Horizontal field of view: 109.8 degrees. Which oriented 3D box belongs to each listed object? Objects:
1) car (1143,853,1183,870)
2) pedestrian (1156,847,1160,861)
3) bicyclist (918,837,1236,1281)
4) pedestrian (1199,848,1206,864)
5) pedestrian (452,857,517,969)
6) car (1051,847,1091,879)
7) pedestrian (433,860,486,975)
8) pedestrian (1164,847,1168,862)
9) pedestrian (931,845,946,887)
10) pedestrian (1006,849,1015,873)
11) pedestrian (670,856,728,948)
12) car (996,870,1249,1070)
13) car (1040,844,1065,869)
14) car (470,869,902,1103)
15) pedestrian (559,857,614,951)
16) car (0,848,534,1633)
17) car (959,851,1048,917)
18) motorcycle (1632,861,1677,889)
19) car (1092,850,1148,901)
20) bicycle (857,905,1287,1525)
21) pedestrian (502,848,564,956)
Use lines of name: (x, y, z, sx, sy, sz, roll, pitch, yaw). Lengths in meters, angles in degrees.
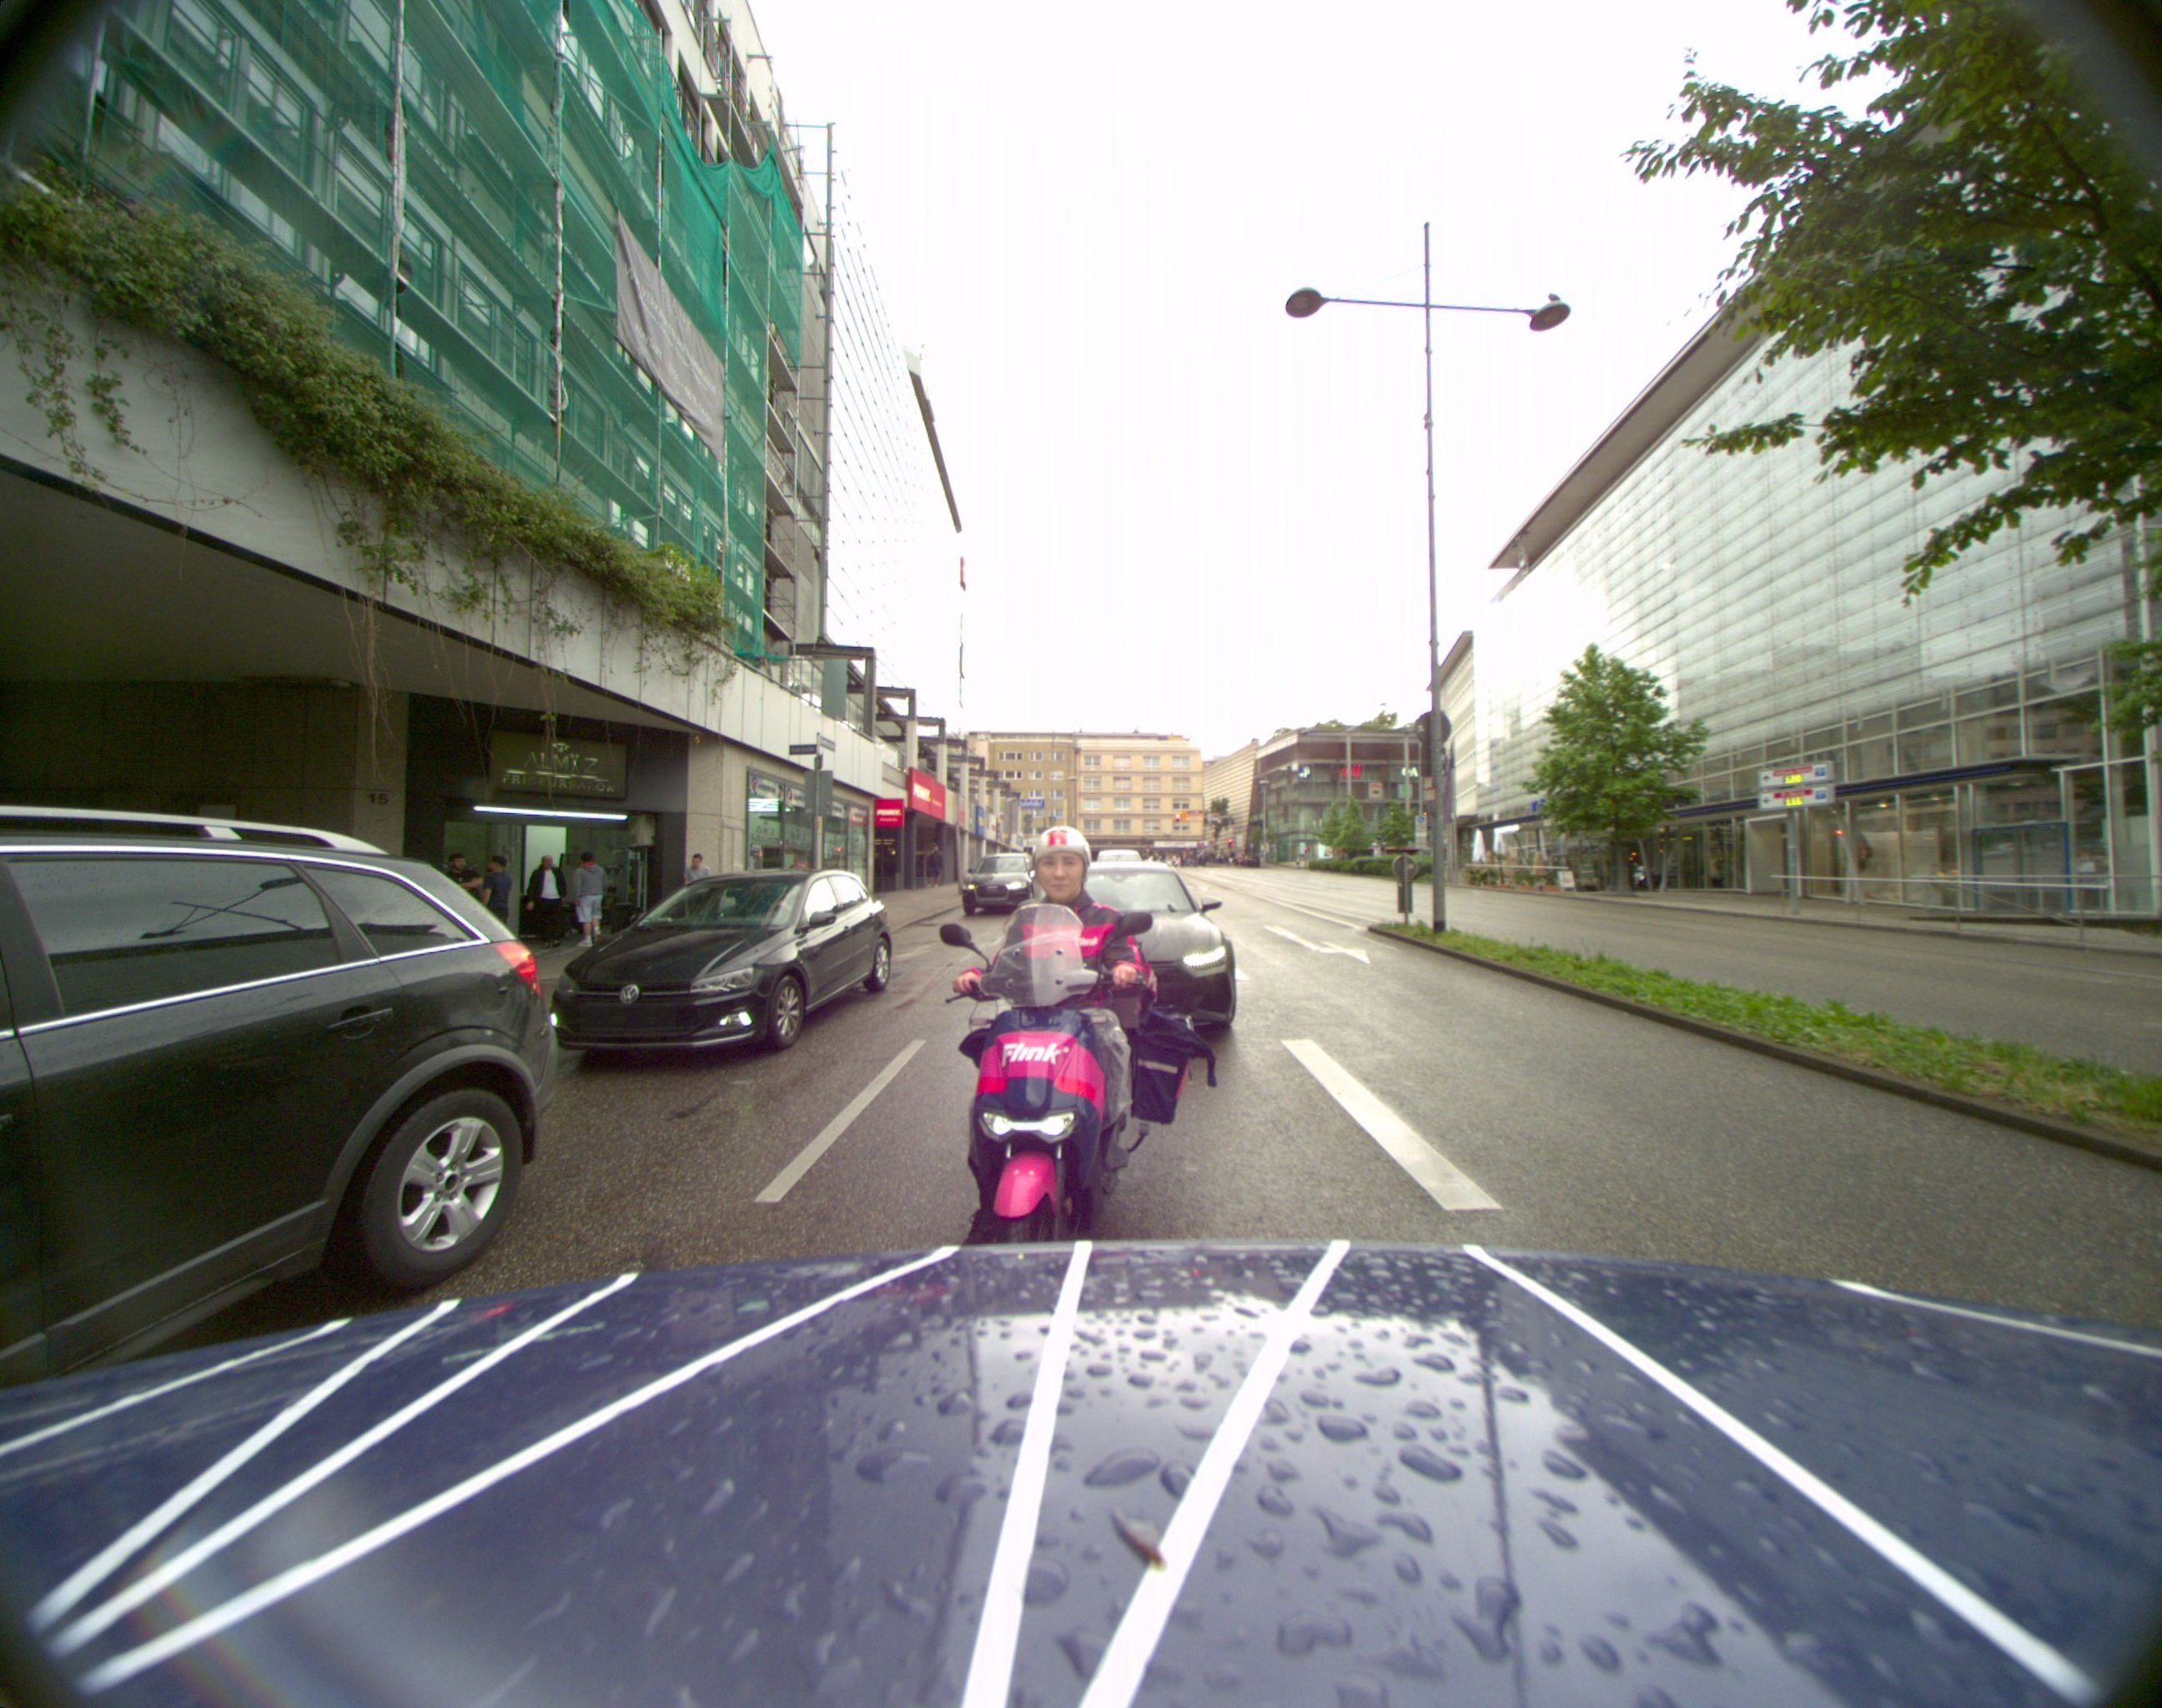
car: (10.354, 0.922, 95.767, 4.594, 2.002, 1.995, 0, 1, -27)
pedestrian: (8.609, 0.007, 85.401, 0.428, 1.620, 0.602, 1, 1, 5)
bicyclist: (-0.004, 0.717, 3.074, 1.063, 1.534, 0.825, -2, 2, 0)
pedestrian: (13.846, 0.271, 86.441, 0.626, 1.764, 0.689, -2, 2, 5)
pedestrian: (-8.867, 0.846, 11.317, 0.640, 1.586, 0.576, -3, 2, -32)
car: (-0.501, 0.506, 43.389, 1.988, 1.696, 4.165, -2, -1, 2)
pedestrian: (-9.579, 0.955, 11.714, 0.466, 1.698, 0.484, 0, 2, 42)
pedestrian: (9.723, 0.066, 86.725, 0.428, 1.620, 0.602, 1, 1, 3)
pedestrian: (-5.754, 0.483, 30.665, 0.579, 1.669, 0.510, 0, 2, -6)
pedestrian: (-4.325, 0.442, 46.834, 0.510, 1.492, 0.579, 0, 2, 0)
pedestrian: (-7.075, 0.870, 14.096, 0.639, 1.633, 0.733, -2, 2, -3)
car: (0.404, 0.933, 7.886, 1.890, 1.392, 4.164, -2, 0, 2)
car: (-2.395, 0.151, 65.105, 1.605, 2.002, 3.400, -2, 1, 7)
car: (-3.179, 0.940, 7.230, 1.759, 1.495, 4.165, -2, -1, 2)
pedestrian: (-8.959, 0.879, 13.777, 0.578, 1.618, 0.678, 2, 2, 39)
car: (-3.330, 0.888, 1.252, 1.764, 1.755, 4.164, -2, -1, 1)
car: (-2.043, 0.755, 21.273, 1.841, 1.598, 4.164, -2, 1, 2)
motorcycle: (28.105, 1.035, 37.254, 1.707, 1.319, 0.620, 0, 1, 1)
car: (1.309, 0.681, 25.723, 1.675, 1.520, 4.165, -2, -1, 2)
bicycle: (-0.003, 1.013, 3.375, 1.034, 1.279, 2.948, -2, 1, 1)
pedestrian: (-9.547, 0.805, 13.247, 0.771, 1.805, 0.745, 2, 2, 44)
